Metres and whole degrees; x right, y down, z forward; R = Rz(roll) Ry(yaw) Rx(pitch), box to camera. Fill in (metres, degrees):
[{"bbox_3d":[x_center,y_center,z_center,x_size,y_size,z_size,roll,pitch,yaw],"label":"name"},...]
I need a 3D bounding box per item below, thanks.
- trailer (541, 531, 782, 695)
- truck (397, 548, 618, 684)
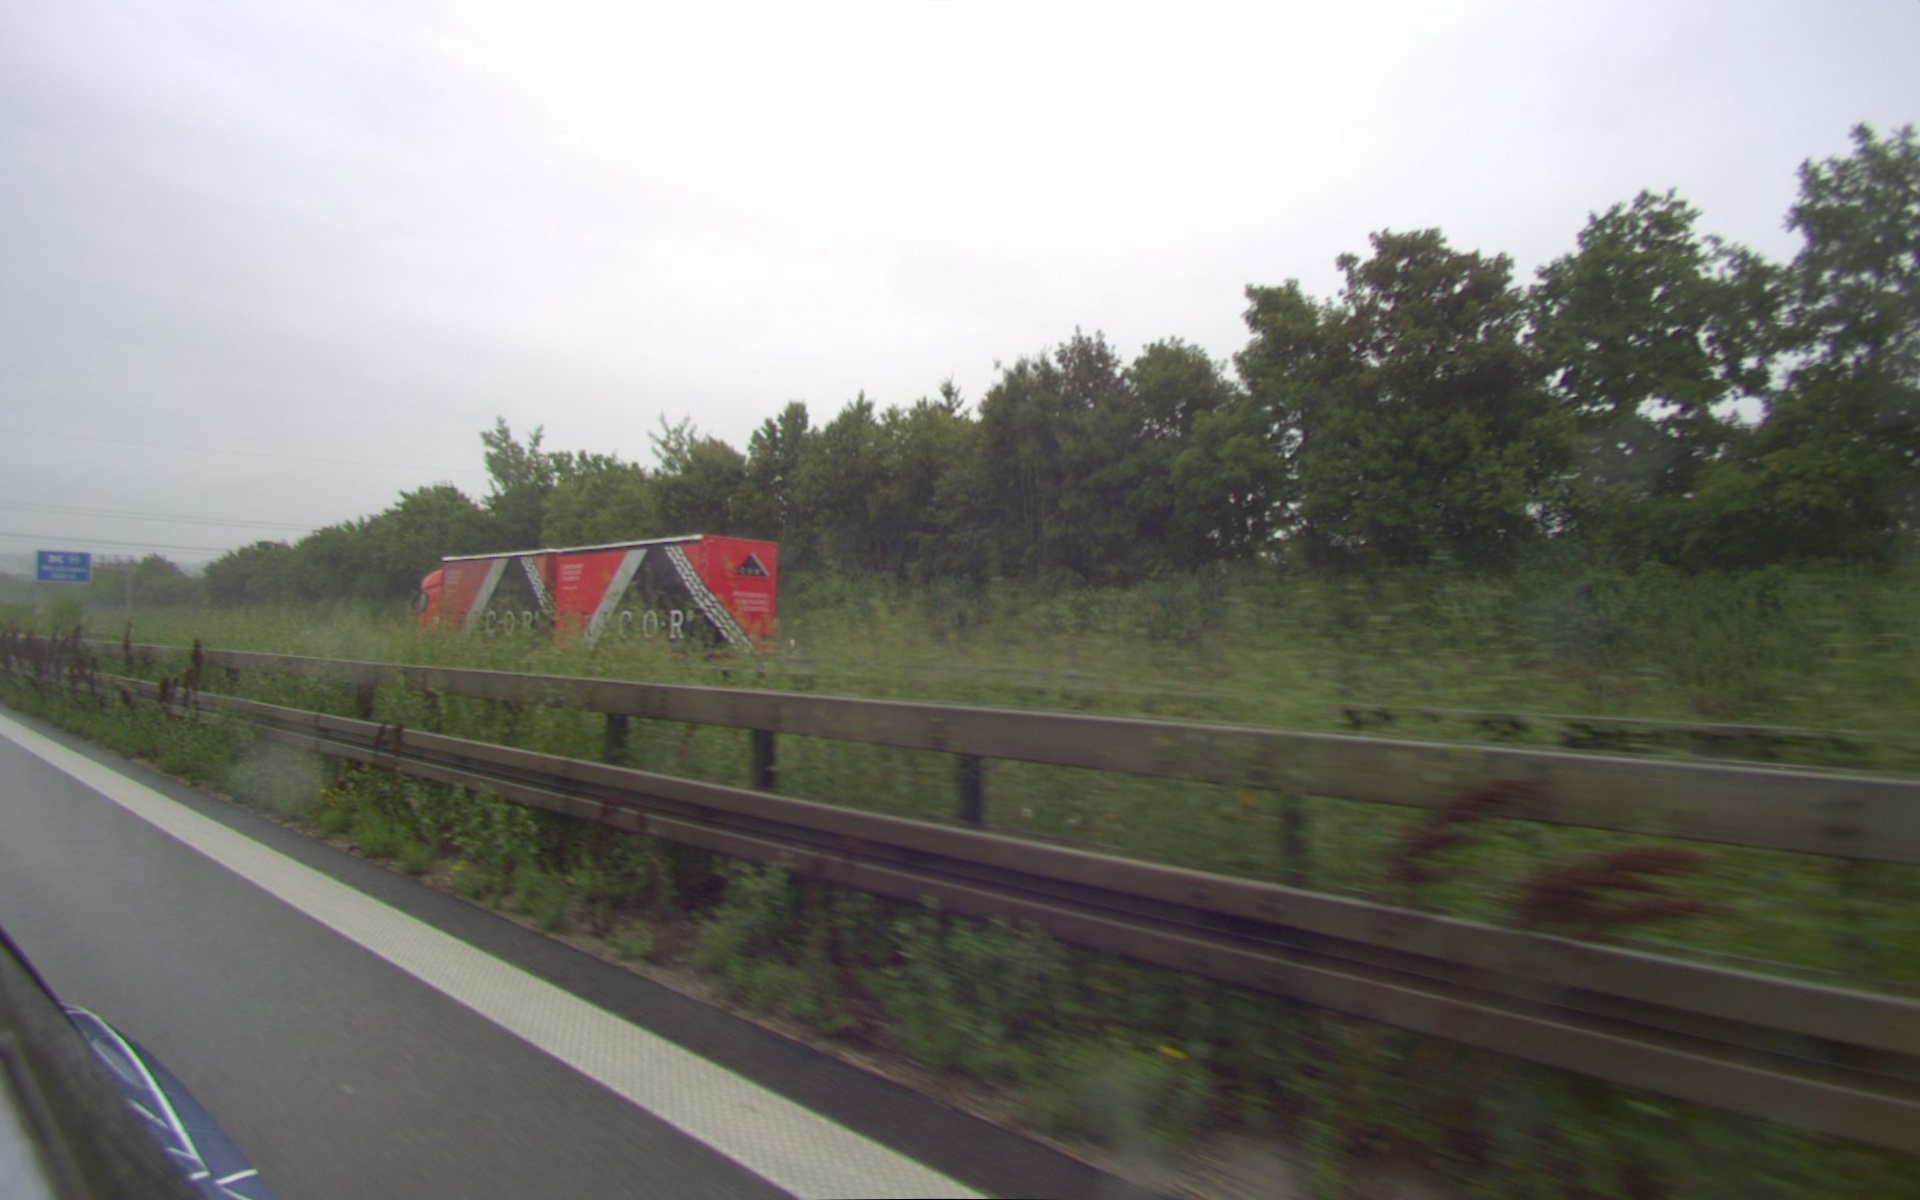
[{"bbox_3d":[-9.067,0.397,30.047,8.483,4.262,2.670,-1,-1,41],"label":"trailer"},{"bbox_3d":[-16.646,0.594,36.565,11.345,4.262,2.670,-1,-1,41],"label":"truck"}]
